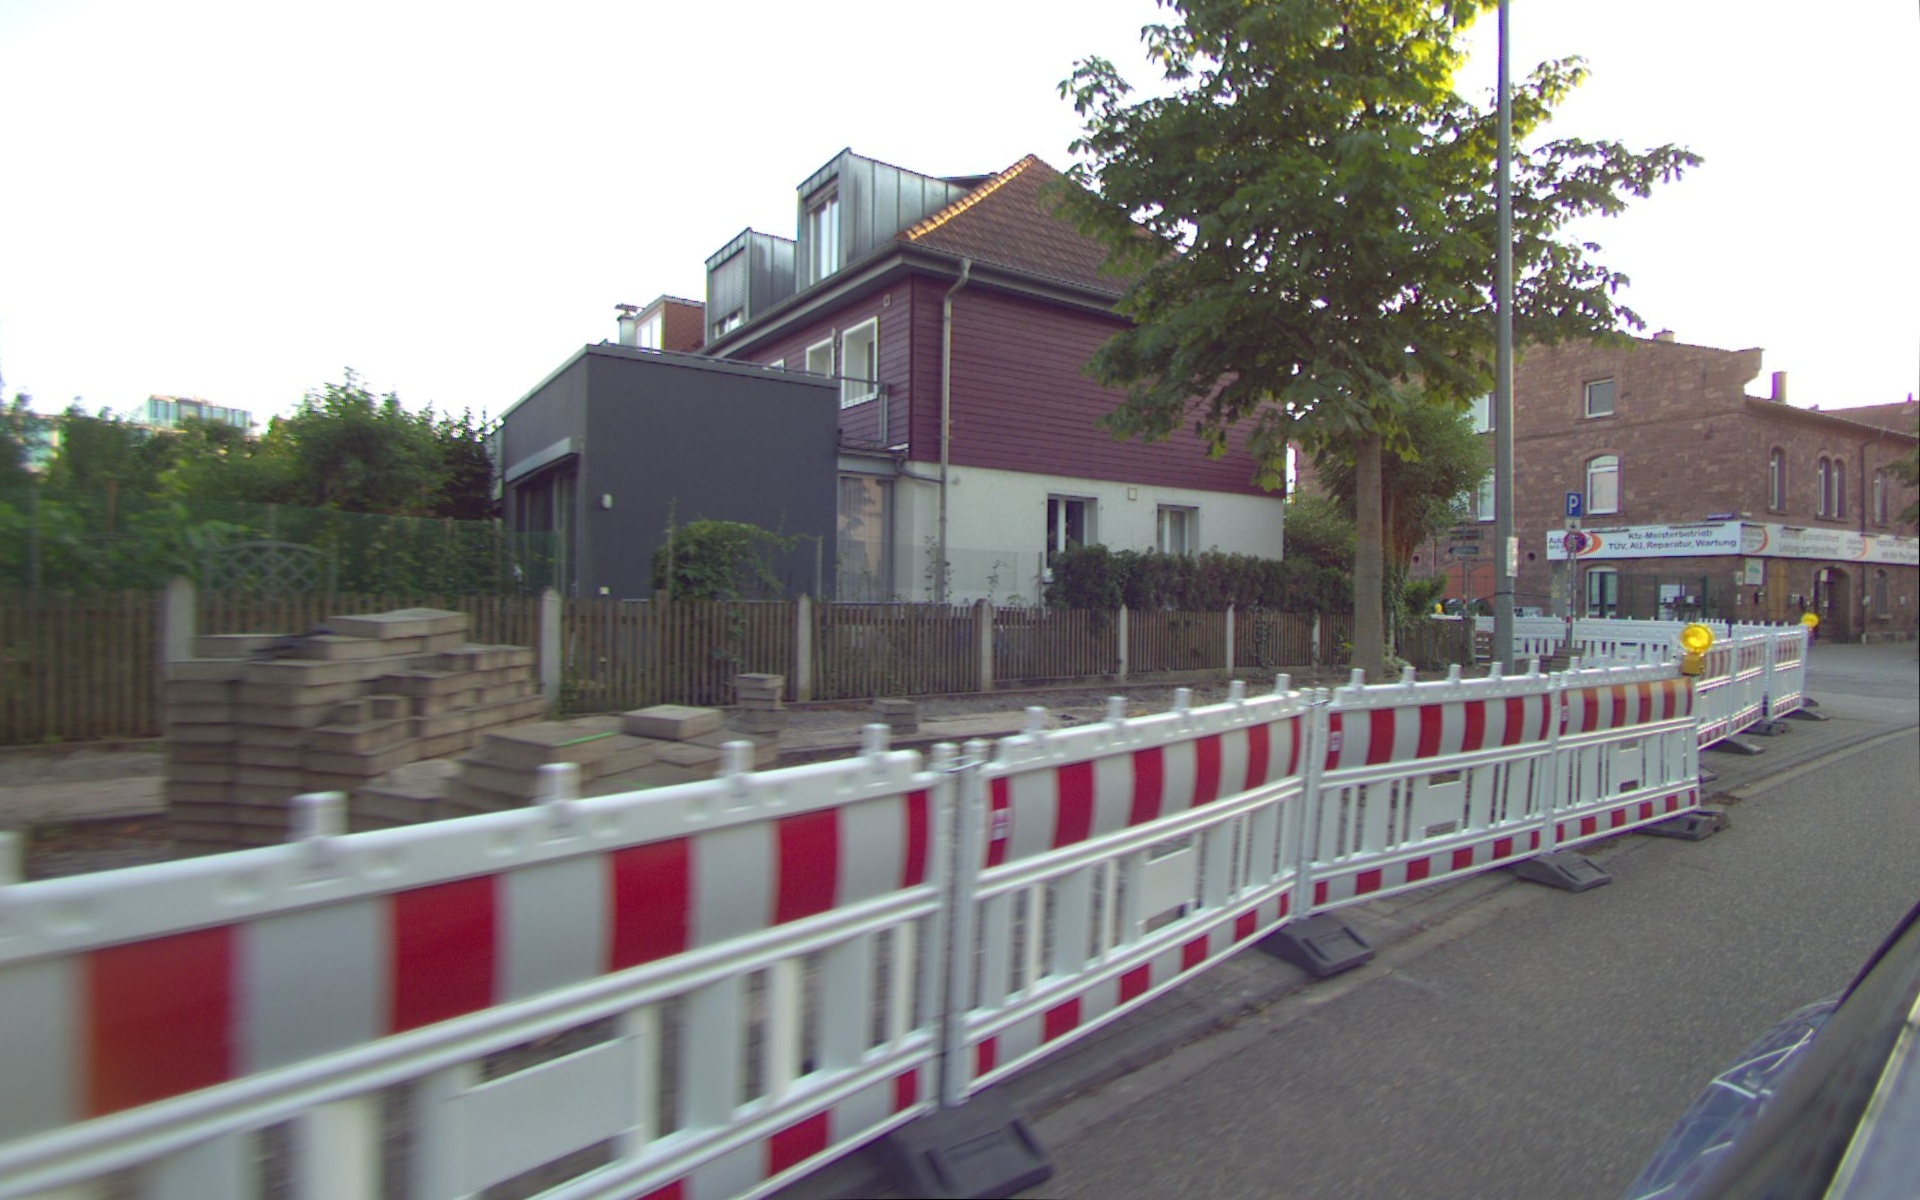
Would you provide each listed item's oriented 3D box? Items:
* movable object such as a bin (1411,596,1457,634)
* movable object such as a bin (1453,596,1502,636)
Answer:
[{"bbox_3d":[18.707,0.585,39.928,1.037,1.462,1.291,1,-1,-29],"label":"movable object such as a bin"},{"bbox_3d":[19.578,0.599,38.326,1.075,1.462,1.266,1,-1,-29],"label":"movable object such as a bin"}]
